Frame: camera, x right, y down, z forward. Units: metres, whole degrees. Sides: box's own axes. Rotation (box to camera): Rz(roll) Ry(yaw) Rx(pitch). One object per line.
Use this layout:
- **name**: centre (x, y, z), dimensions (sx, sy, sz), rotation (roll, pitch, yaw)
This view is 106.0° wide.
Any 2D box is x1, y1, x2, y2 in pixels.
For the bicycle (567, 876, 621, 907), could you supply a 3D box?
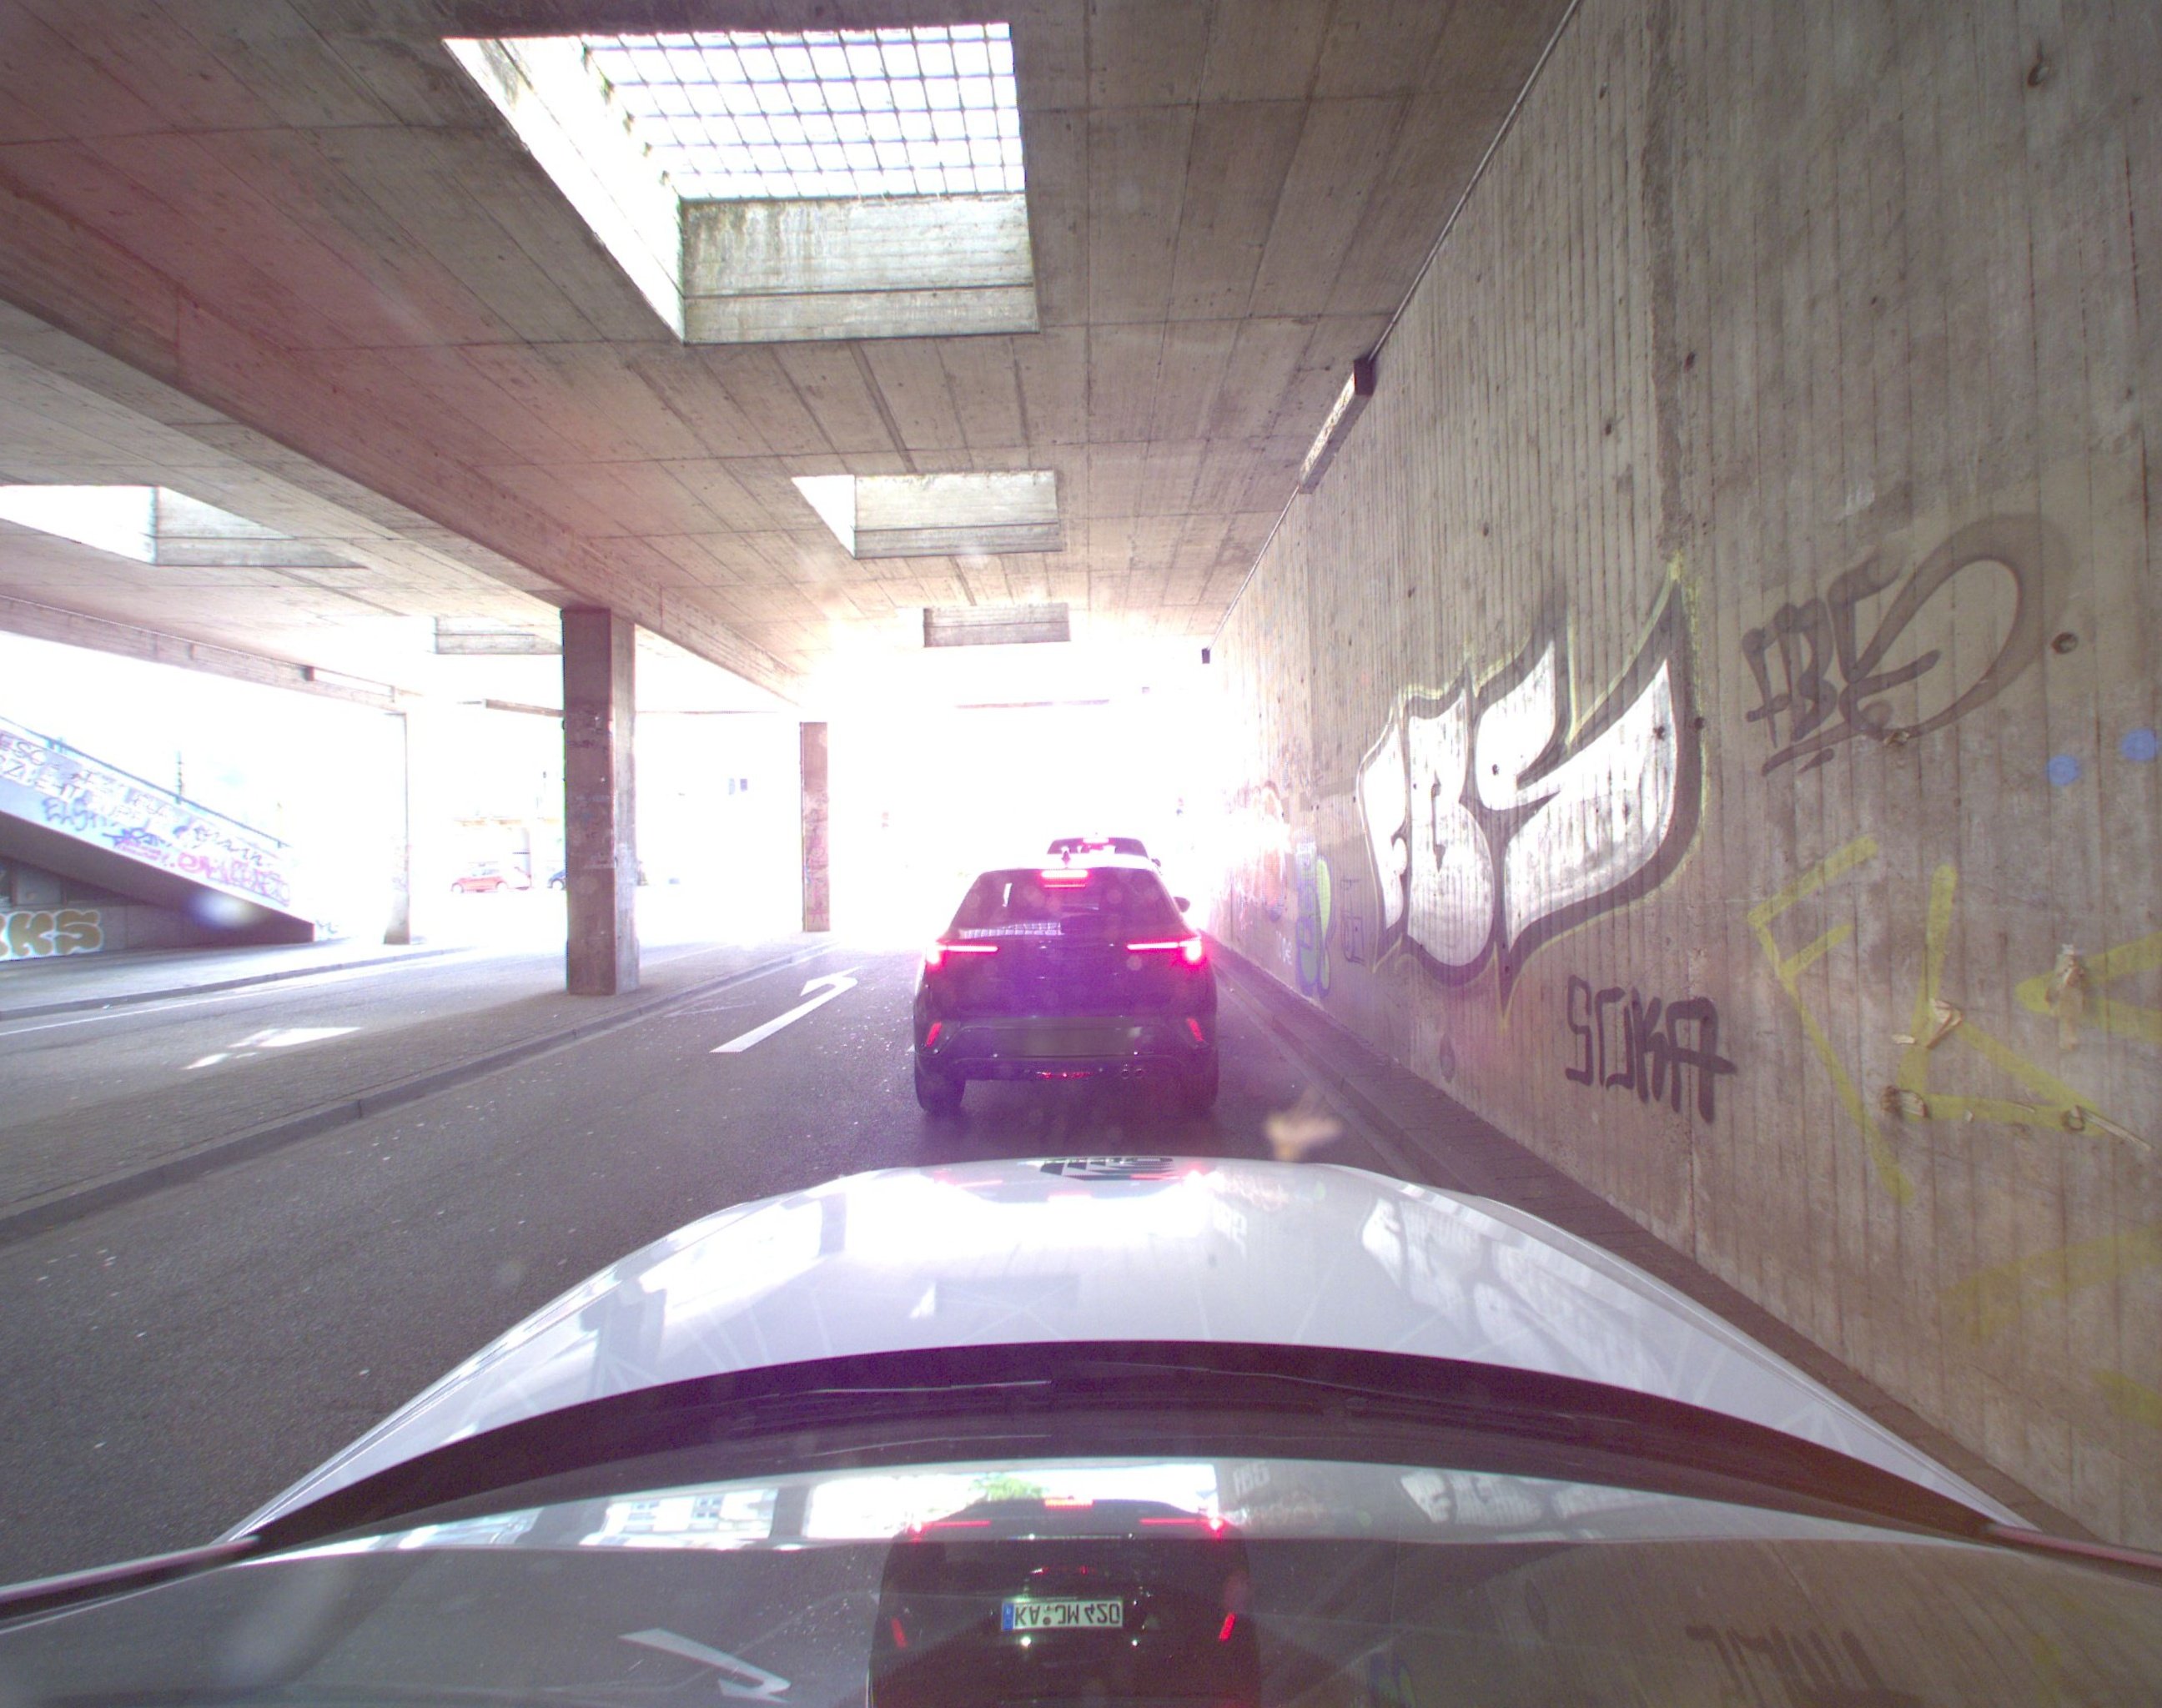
- **bicycle**: centre (-17.965, 1.363, 30.042), dimensions (1.732, 1.118, 0.477), rotation (0, -1, 4)

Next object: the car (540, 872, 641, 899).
- **car**: centre (-27.221, 1.731, 45.296), dimensions (4.393, 1.409, 1.925), rotation (0, -1, -1)

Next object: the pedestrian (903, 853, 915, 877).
- **pedestrian**: centre (-11.411, 0.728, 54.022), dimensions (0.669, 1.637, 0.741), rotation (0, -1, 1)

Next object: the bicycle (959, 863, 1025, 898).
- **bicycle**: centre (-2.900, 0.854, 26.629), dimensions (1.978, 1.050, 0.720), rotation (-2, -1, 8)

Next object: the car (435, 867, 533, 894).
- **car**: centre (-33.102, 1.437, 45.275), dimensions (3.975, 1.409, 1.925), rotation (0, -1, -1)

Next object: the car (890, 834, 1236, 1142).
- **car**: centre (-0.030, 0.654, 6.168), dimensions (1.758, 1.571, 4.002), rotation (0, 1, 2)

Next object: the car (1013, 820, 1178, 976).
- **car**: centre (0.242, 0.543, 12.063), dimensions (1.986, 1.871, 4.002), rotation (-2, 0, 2)

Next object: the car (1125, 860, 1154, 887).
- **car**: centre (4.514, 1.443, 62.328), dimensions (1.983, 1.970, 4.172), rotation (0, -1, 7)

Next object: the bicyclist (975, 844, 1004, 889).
- **bicyclist**: centre (-2.997, 0.393, 26.666), dimensions (0.733, 1.423, 0.686), rotation (-3, -1, 8)

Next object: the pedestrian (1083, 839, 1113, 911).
- **pedestrian**: centre (0.424, 0.520, 20.108), dimensions (0.728, 1.734, 0.874), rotation (0, -1, 1)

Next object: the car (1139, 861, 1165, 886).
- **car**: centre (5.983, 1.622, 68.511), dimensions (1.983, 1.970, 4.172), rotation (0, -1, 7)
